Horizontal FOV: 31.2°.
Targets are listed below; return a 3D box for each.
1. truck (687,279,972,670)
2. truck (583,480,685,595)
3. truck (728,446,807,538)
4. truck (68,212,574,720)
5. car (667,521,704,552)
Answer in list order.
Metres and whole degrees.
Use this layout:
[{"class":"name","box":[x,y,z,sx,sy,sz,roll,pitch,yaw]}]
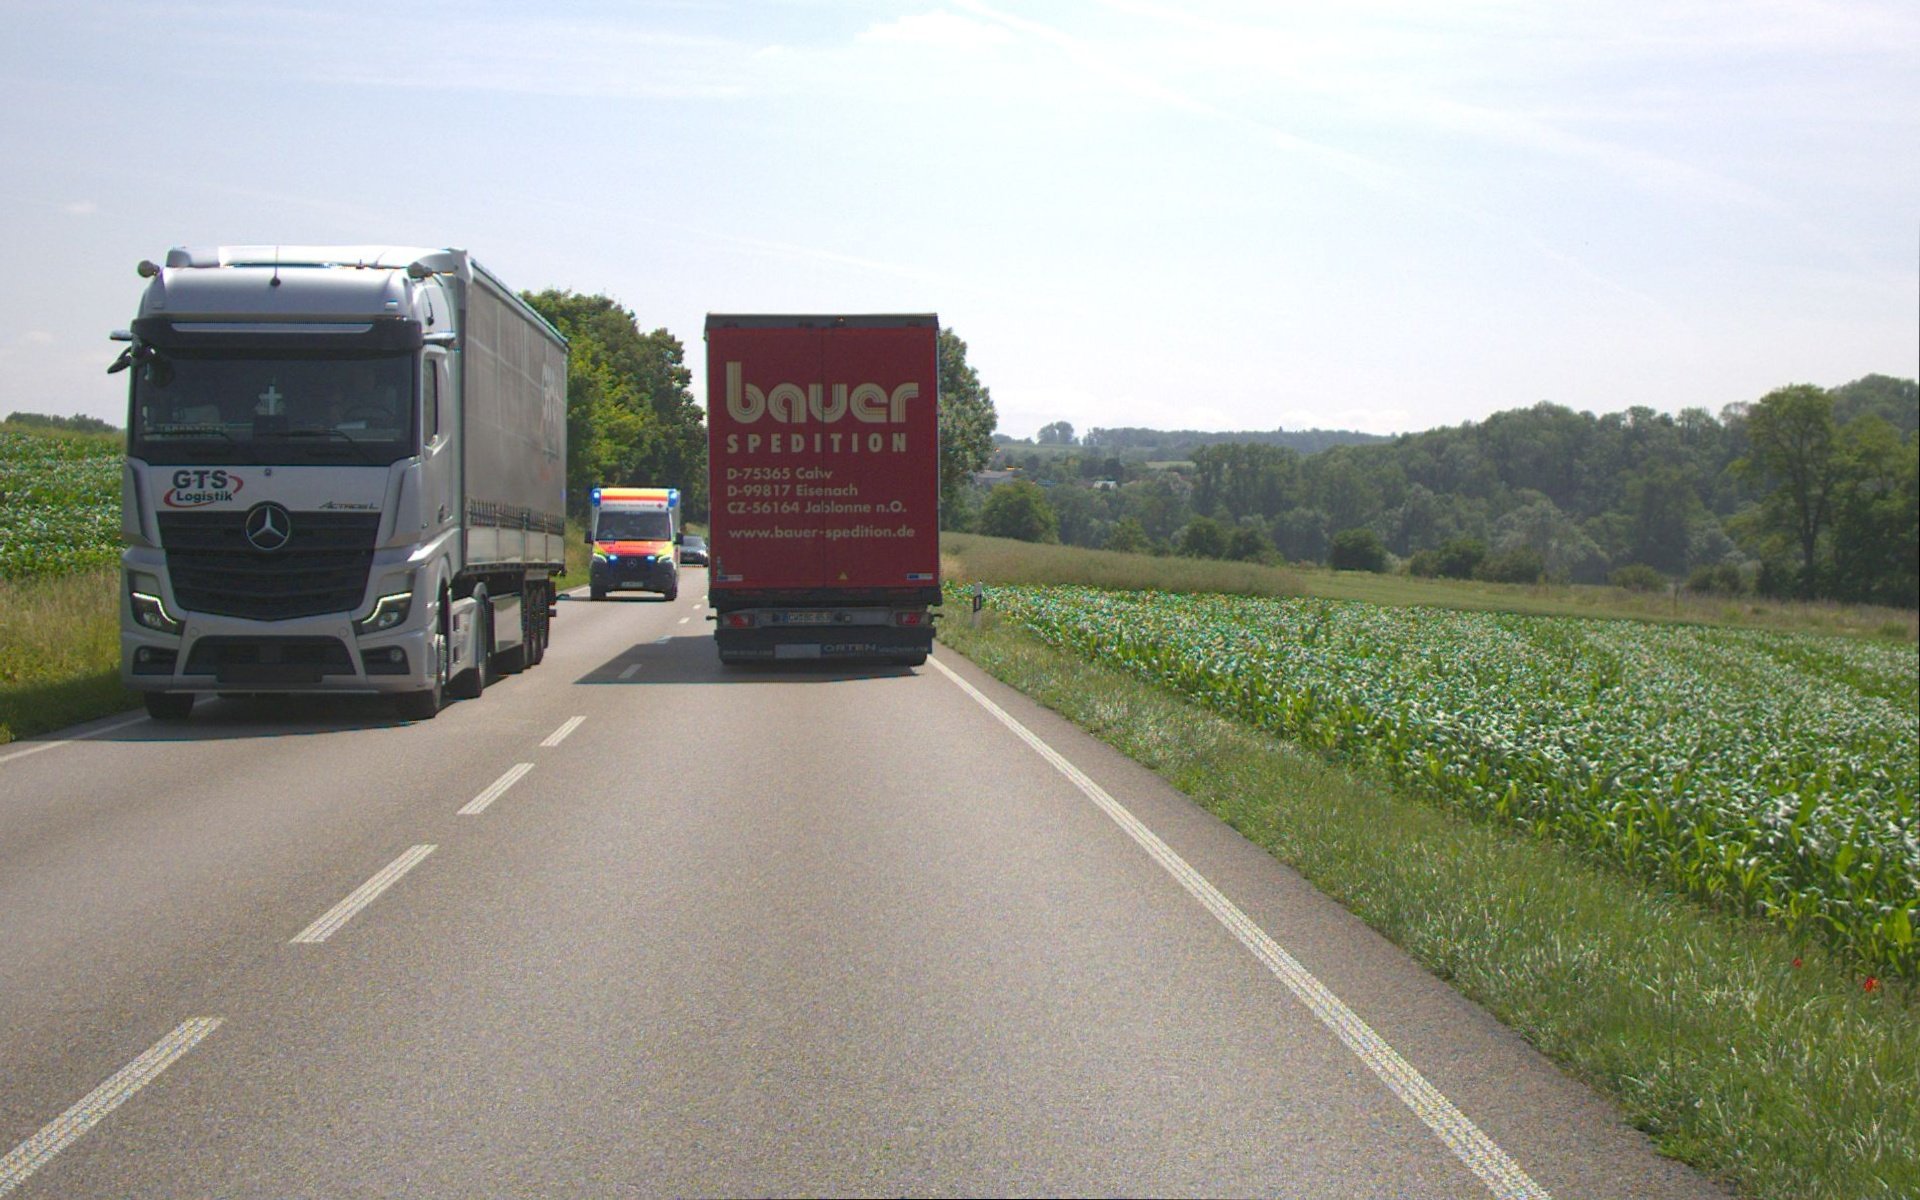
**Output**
[{"class":"truck","box":[-1.533,-1.397,41.652,3.094,4.248,8.315,0,0,-1]},{"class":"truck","box":[-7.813,-1.505,82.895,2.207,2.663,6.418,0,1,-3]},{"class":"truck","box":[-9.610,-5.346,172.910,3.640,4.278,11.986,0,0,-2]},{"class":"truck","box":[-5.942,-1.212,35.270,2.826,3.979,16.535,0,1,-3]},{"class":"car","box":[-13.216,-3.068,165.502,1.673,1.452,4.351,0,1,-3]}]
